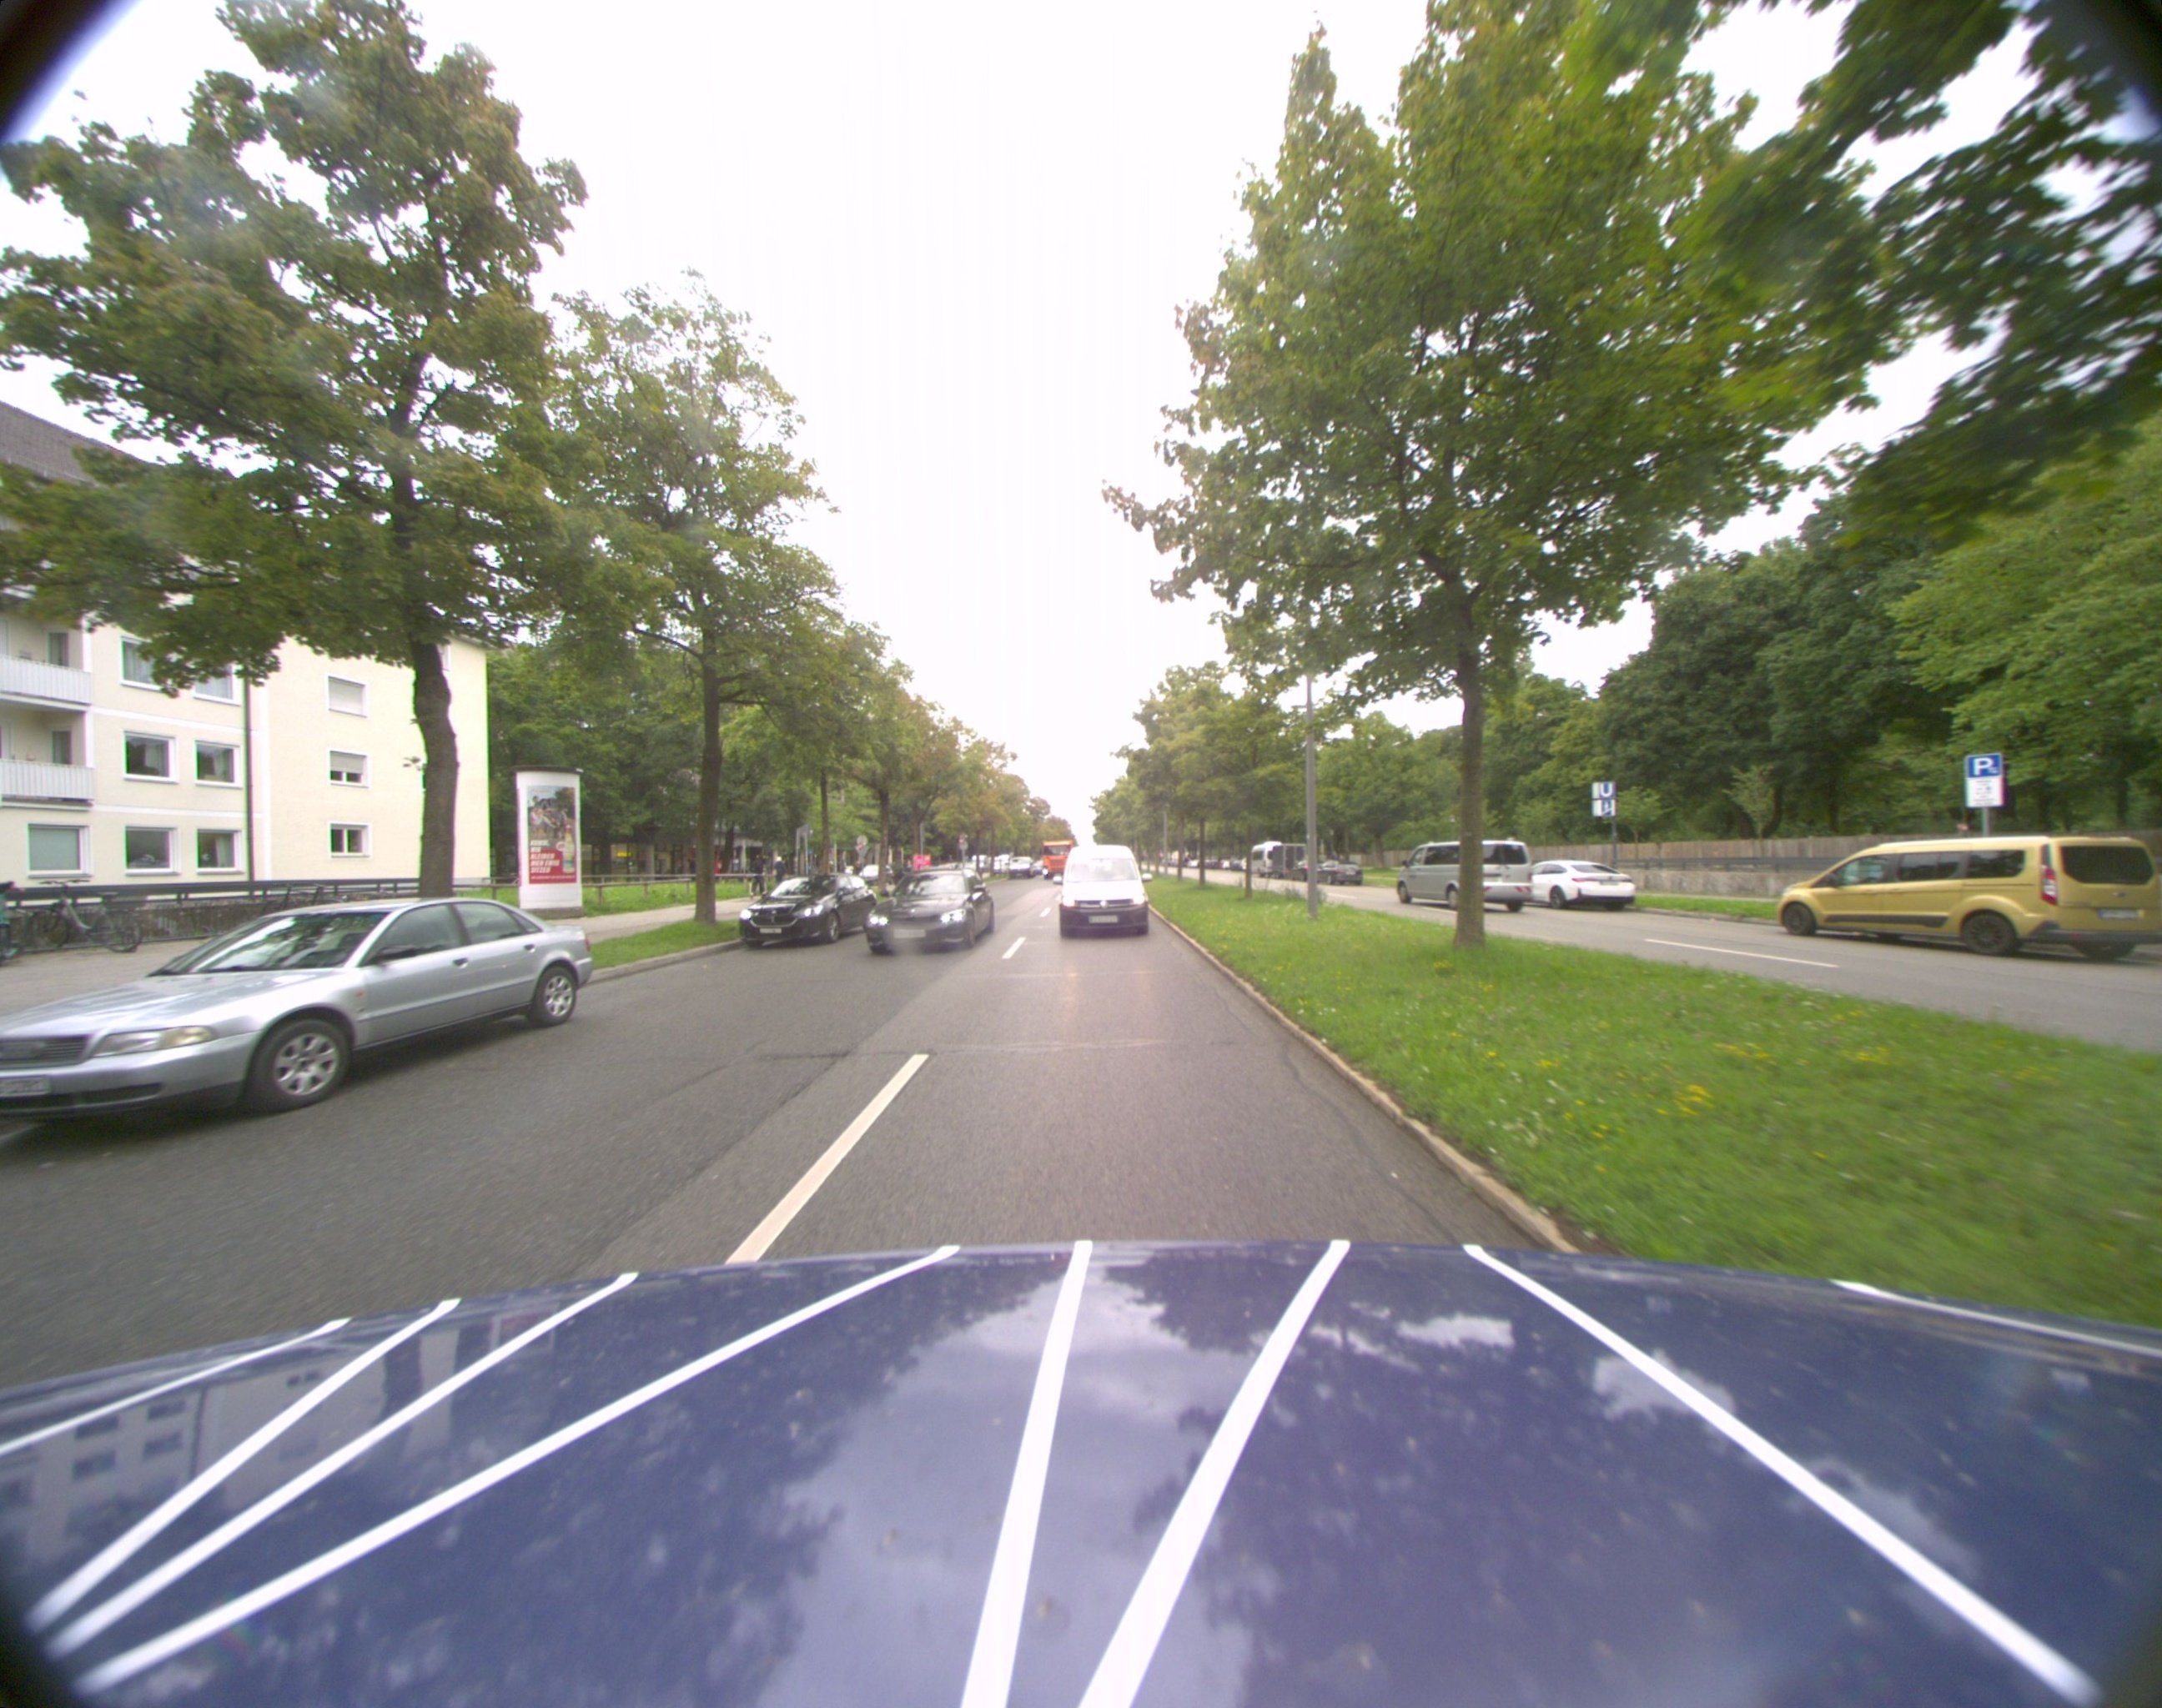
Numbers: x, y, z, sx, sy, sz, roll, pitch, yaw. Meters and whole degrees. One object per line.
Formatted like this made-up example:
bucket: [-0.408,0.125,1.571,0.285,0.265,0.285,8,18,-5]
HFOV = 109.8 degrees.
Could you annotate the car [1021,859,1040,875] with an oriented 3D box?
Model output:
car: [-5.027,1.246,75.824,1.701,1.440,4.041,-3,0,-1]

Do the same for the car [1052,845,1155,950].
car: [0.406,0.778,15.876,1.750,1.807,4.667,-2,0,0]

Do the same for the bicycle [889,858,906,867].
bicycle: [-27.039,1.262,111.717,2.313,1.294,0.649,-1,0,2]

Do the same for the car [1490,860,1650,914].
car: [14.980,0.942,23.654,1.861,1.464,4.875,0,0,0]

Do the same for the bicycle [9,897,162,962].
bicycle: [-16.496,1.238,12.614,1.882,1.022,0.432,0,1,-2]

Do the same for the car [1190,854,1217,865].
car: [19.799,0.865,122.554,4.006,1.548,1.887,-3,0,-31]

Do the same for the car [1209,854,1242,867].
car: [19.828,0.857,104.385,4.005,1.548,1.888,-3,0,-26]

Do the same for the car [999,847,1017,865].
car: [-11.625,0.328,121.140,1.978,2.641,6.006,-2,0,1]

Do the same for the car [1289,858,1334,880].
car: [15.438,0.967,50.996,1.804,1.376,4.238,0,0,1]

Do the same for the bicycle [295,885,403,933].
bicycle: [-16.485,1.229,17.132,1.883,1.022,0.432,0,1,-5]

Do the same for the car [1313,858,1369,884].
car: [15.137,0.937,44.489,1.804,1.417,4.431,0,0,1]

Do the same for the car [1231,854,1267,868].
car: [19.689,0.832,89.055,4.006,1.477,1.797,-3,0,-33]

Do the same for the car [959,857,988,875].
car: [-9.243,1.021,65.831,1.732,1.424,4.691,-2,0,1]

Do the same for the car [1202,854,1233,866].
car: [19.878,0.833,110.609,4.006,1.548,1.887,-3,0,-31]

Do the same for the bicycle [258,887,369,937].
bicycle: [-16.415,1.231,16.267,1.882,1.022,0.432,0,1,-2]

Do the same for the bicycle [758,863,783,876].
bicycle: [-27.913,1.412,68.363,2.080,1.114,0.455,-1,0,1]

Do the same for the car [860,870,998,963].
car: [-2.781,1.085,14.951,1.763,1.405,4.462,-3,0,0]

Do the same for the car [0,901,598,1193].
car: [-6.231,1.244,6.420,1.640,1.377,4.243,-3,0,-2]

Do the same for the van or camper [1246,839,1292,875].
van or camper: [15.475,0.242,62.948,2.040,2.821,7.547,0,0,1]

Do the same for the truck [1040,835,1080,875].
truck: [-1.722,0.049,66.811,3.046,3.170,9.133,-2,0,0]

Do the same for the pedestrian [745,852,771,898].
pedestrian: [-12.489,0.801,29.390,0.641,1.739,0.849,1,0,2]

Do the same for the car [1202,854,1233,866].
car: [19.230,0.865,106.962,4.006,1.548,1.887,-3,0,-31]

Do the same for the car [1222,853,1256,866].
car: [20.478,0.745,98.336,4.005,1.455,1.888,-3,0,-26]

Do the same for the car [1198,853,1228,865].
car: [19.753,0.796,113.540,4.006,1.548,1.887,-3,0,-31]

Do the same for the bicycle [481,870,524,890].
bicycle: [-28.376,1.260,37.277,1.696,0.965,0.455,-1,0,-3]

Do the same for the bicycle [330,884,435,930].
bicycle: [-16.243,1.223,17.687,1.883,1.022,0.432,0,1,-7]

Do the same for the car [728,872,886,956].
car: [-5.815,1.205,16.723,1.755,1.457,4.176,-2,0,2]

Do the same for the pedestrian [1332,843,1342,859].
pedestrian: [28.238,-0.315,83.907,0.770,1.757,0.874,0,1,-3]

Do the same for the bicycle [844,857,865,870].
bicycle: [-27.455,1.160,92.023,2.313,1.523,0.649,-1,0,1]

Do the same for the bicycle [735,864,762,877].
bicycle: [-28.900,1.411,66.072,2.080,1.114,0.455,-1,0,1]

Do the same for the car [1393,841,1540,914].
car: [11.122,0.603,22.384,1.804,1.922,4.993,0,0,0]

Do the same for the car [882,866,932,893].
car: [-10.147,1.461,44.671,1.726,1.371,4.352,-2,0,3]

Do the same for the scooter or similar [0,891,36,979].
scooter or similar: [-15.831,1.162,11.093,0.359,1.193,1.386,-1,1,-41]

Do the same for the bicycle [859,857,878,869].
bicycle: [-27.694,1.184,99.040,2.316,1.613,0.648,-1,0,-16]

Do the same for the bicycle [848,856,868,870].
bicycle: [-27.610,1.106,94.127,2.313,1.613,0.649,-1,0,1]

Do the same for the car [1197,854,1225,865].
car: [20.047,0.831,117.010,4.006,1.548,1.887,-3,0,-31]

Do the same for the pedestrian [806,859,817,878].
pedestrian: [-22.901,1.232,64.564,0.633,1.533,0.658,0,1,-41]

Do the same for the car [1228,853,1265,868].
car: [20.056,0.777,92.042,4.005,1.577,1.798,-3,0,-28]

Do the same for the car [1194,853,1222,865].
car: [20.102,0.808,120.081,4.006,1.548,1.887,-3,0,-31]

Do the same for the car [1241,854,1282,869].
car: [19.608,0.830,82.413,4.331,1.430,1.797,-2,1,-33]

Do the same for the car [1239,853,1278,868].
car: [20.156,0.745,86.065,4.331,1.564,1.797,-2,1,-33]

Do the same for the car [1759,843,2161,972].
car: [14.544,0.752,12.917,1.818,1.772,4.818,0,0,2]

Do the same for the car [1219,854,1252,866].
car: [20.585,0.822,101.384,4.005,1.446,1.737,-3,0,-26]

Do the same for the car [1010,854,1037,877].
car: [-5.149,0.995,68.622,1.885,1.916,4.933,-2,0,1]

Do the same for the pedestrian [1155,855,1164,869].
pedestrian: [9.494,0.931,92.188,0.872,1.689,0.771,0,2,21]

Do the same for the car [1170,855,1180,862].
car: [19.163,0.875,155.505,1.889,1.435,4.170,-2,0,5]

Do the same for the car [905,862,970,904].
car: [-5.740,1.119,30.873,1.686,1.457,4.115,-2,0,2]

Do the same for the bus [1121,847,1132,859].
bus: [12.870,-0.175,214.765,2.676,3.279,11.926,1,0,2]

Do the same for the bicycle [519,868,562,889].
bicycle: [-26.592,1.203,37.389,1.696,0.965,0.455,-1,0,-3]

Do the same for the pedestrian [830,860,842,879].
pedestrian: [-20.251,1.251,62.859,0.657,1.584,0.755,0,0,20]

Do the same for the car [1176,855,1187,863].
car: [19.021,0.946,143.621,1.889,1.435,4.170,-2,0,5]

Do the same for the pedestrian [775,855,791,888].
pedestrian: [-15.967,0.914,40.718,0.642,1.720,0.600,-3,1,-30]

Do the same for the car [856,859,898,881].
car: [-15.386,1.174,57.461,1.826,1.624,4.199,0,0,3]

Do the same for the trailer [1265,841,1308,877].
trailer: [15.339,0.357,56.895,2.022,2.575,4.659,0,0,1]

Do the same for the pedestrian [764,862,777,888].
pedestrian: [-19.510,1.328,47.690,0.581,1.565,0.779,-3,1,-30]
